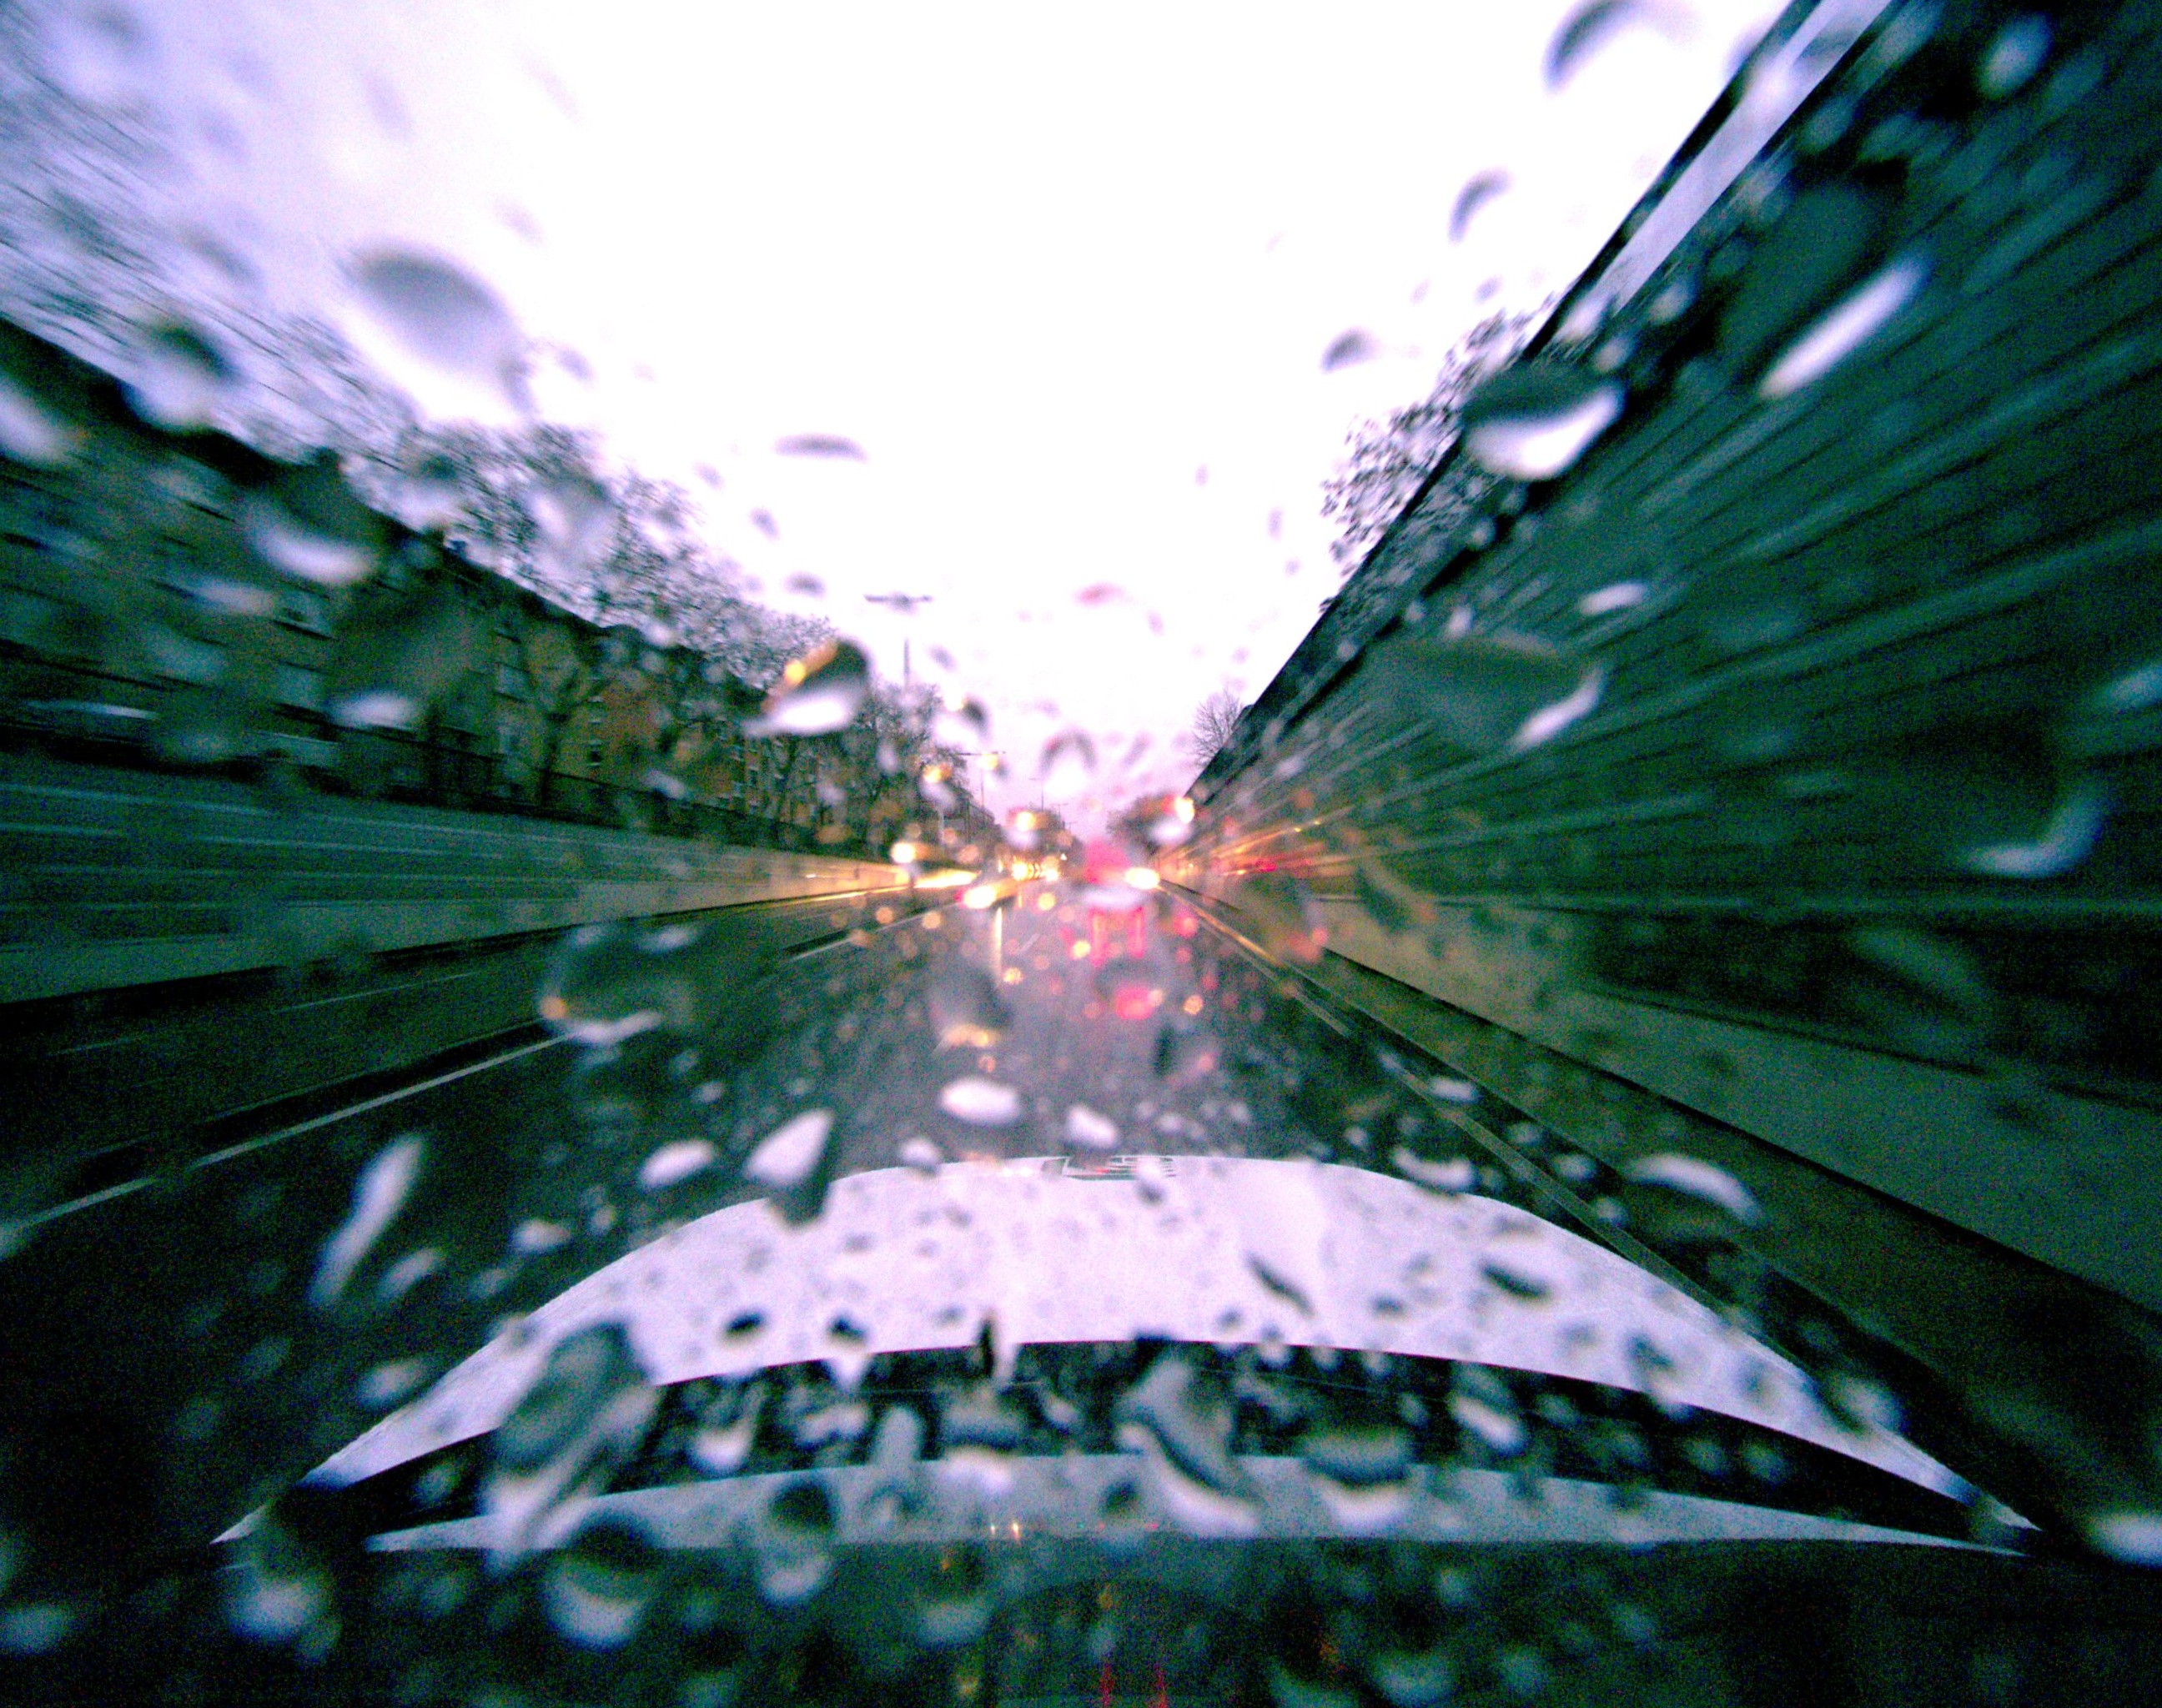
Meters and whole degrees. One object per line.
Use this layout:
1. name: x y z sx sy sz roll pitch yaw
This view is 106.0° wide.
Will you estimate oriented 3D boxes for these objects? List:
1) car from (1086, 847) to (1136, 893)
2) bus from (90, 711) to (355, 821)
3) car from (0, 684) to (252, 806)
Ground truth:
1. car: 0.984 0.541 27.089 1.526 1.397 3.435 -1 -2 2
2. bus: -19.729 -1.921 19.016 1.688 1.870 4.067 -4 -2 3
3. car: -16.647 -1.727 13.826 1.559 1.397 3.406 -4 -2 2
